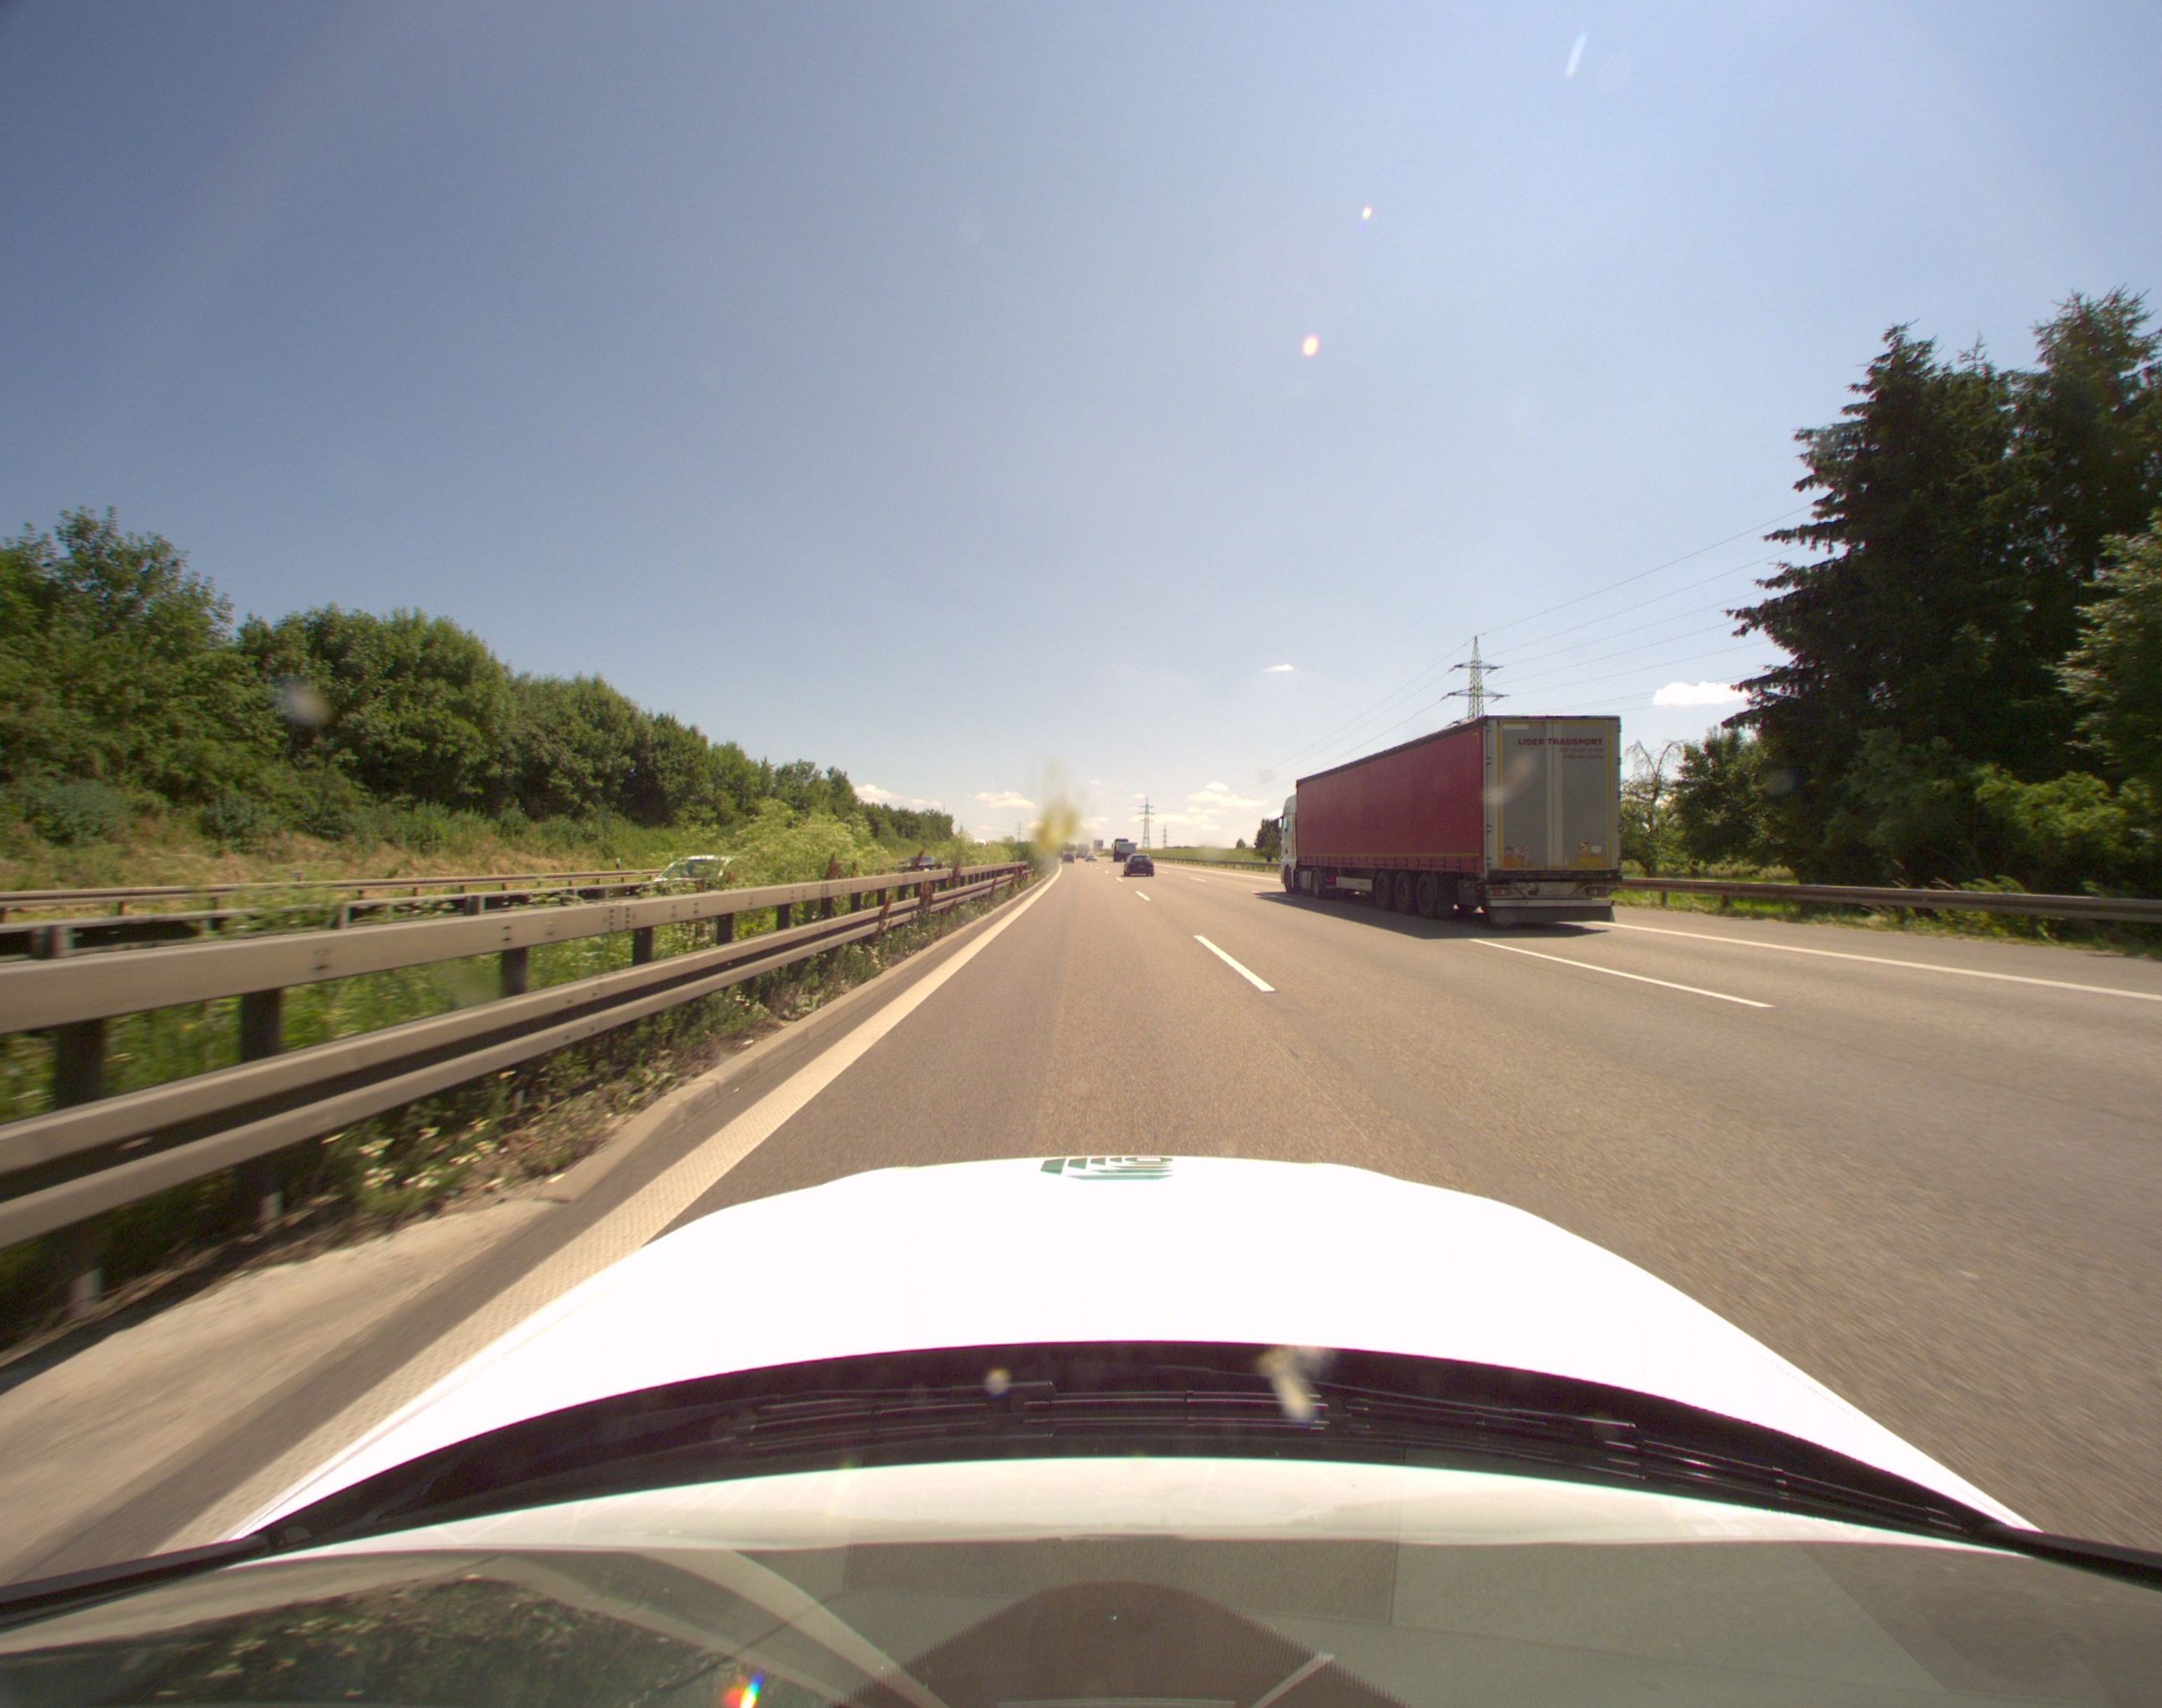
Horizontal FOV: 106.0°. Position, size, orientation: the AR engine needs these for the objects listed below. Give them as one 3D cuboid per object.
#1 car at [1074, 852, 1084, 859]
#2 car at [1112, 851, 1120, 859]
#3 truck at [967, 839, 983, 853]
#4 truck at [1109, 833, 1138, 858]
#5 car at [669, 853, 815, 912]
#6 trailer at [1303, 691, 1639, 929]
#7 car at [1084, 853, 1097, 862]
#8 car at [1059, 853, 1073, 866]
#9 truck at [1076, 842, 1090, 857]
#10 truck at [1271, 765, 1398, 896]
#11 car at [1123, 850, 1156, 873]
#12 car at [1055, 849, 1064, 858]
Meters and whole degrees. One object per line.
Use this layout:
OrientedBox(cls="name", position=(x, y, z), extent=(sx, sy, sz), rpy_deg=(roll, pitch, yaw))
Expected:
OrientedBox(cls="car", position=(-0.453, 0.310, 175.894), extent=(1.836, 1.541, 3.906), rpy_deg=(-1, 0, -6))
OrientedBox(cls="car", position=(8.807, 0.288, 204.901), extent=(1.808, 2.013, 3.953), rpy_deg=(-1, 0, -1))
OrientedBox(cls="truck", position=(-21.233, -1.507, 163.343), extent=(2.681, 2.748, 4.642), rpy_deg=(-1, 0, -2))
OrientedBox(cls="truck", position=(6.682, -1.281, 129.909), extent=(2.861, 3.723, 12.739), rpy_deg=(-1, 0, -5))
OrientedBox(cls="car", position=(-8.687, 0.667, 21.382), extent=(1.853, 1.352, 4.667), rpy_deg=(0, 0, 0))
OrientedBox(cls="trailer", position=(8.786, -0.792, 21.171), extent=(2.592, 4.263, 13.033), rpy_deg=(0, 0, 1))
OrientedBox(cls="car", position=(1.575, 0.593, 136.976), extent=(1.817, 1.541, 3.906), rpy_deg=(-1, 0, -6))
OrientedBox(cls="car", position=(-2.241, 0.830, 121.656), extent=(1.989, 1.860, 3.995), rpy_deg=(0, 0, -3))
OrientedBox(cls="truck", position=(0.522, -1.175, 216.742), extent=(3.214, 3.924, 9.049), rpy_deg=(0, -1, -3))
OrientedBox(cls="truck", position=(8.797, -0.745, 29.041), extent=(2.553, 4.153, 6.248), rpy_deg=(0, 0, 0))
OrientedBox(cls="car", position=(3.821, 0.499, 54.062), extent=(1.752, 1.429, 3.996), rpy_deg=(-1, 0, -2))
OrientedBox(cls="car", position=(-4.877, -0.114, 180.797), extent=(1.897, 1.926, 3.996), rpy_deg=(-1, 0, -3))
